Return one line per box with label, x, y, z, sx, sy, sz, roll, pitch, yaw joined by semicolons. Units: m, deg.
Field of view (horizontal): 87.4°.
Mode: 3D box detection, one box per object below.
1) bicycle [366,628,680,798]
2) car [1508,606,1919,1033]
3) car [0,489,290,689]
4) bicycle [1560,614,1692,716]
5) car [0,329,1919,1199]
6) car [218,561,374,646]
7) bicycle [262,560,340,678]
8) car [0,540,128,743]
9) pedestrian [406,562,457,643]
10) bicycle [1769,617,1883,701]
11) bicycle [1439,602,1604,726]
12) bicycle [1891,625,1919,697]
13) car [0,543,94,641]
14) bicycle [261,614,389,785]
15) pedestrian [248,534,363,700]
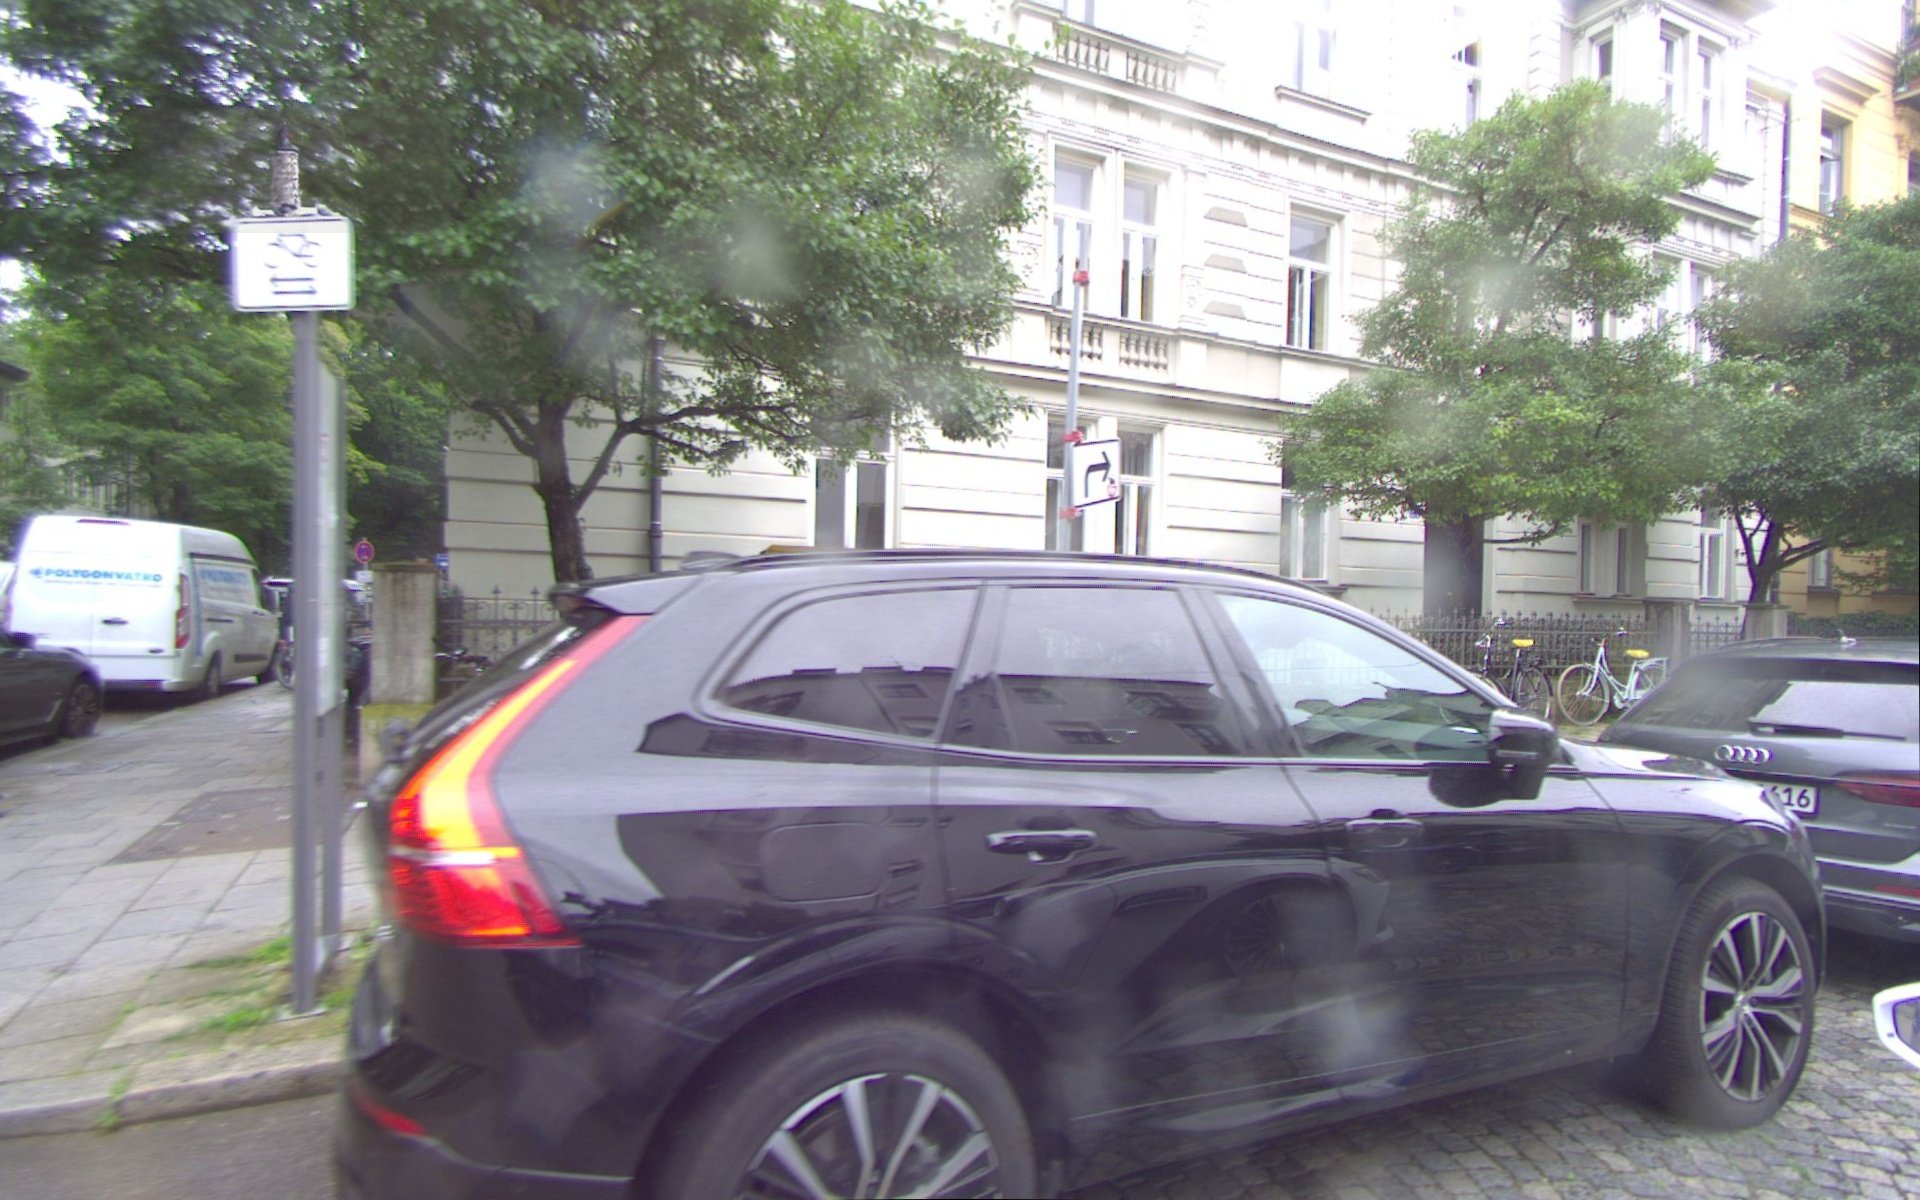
bicycle;-2.938;0.737;6.920;1.899;1.042;0.554;1;2;-20
car;5.396;0.841;5.385;5.112;1.524;1.798;1;-2;-28
car;-11.005;-0.138;13.766;2.180;2.238;4.827;0;1;-24
bicycle;7.974;0.770;12.006;1.862;1.148;0.361;1;2;-26
car;0.680;0.616;3.163;4.985;1.673;1.932;2;-3;-25
car;-14.304;0.042;21.925;2.115;1.652;4.290;0;1;-24
bicycle;-9.200;0.229;13.996;0.703;1.536;2.016;1;1;-39
car;-8.459;0.318;7.331;2.245;1.567;4.565;0;1;-20
pedestrian;-11.518;0.055;21.913;0.849;1.710;0.772;1;1;-21
bicycle;12.129;0.820;14.057;1.806;1.117;0.370;1;1;-21
bicycle;6.191;0.690;11.046;1.953;1.265;0.499;2;2;-26
bicycle;14.909;0.921;15.285;1.740;1.041;0.417;2;2;-25
car;-21.287;-0.243;21.950;2.161;1.982;5.134;3;0;-25
bicycle;-4.736;0.671;7.586;0.425;1.042;1.881;1;2;-20
pedestrian;-7.098;0.170;10.951;0.847;1.712;0.971;0;1;-20
